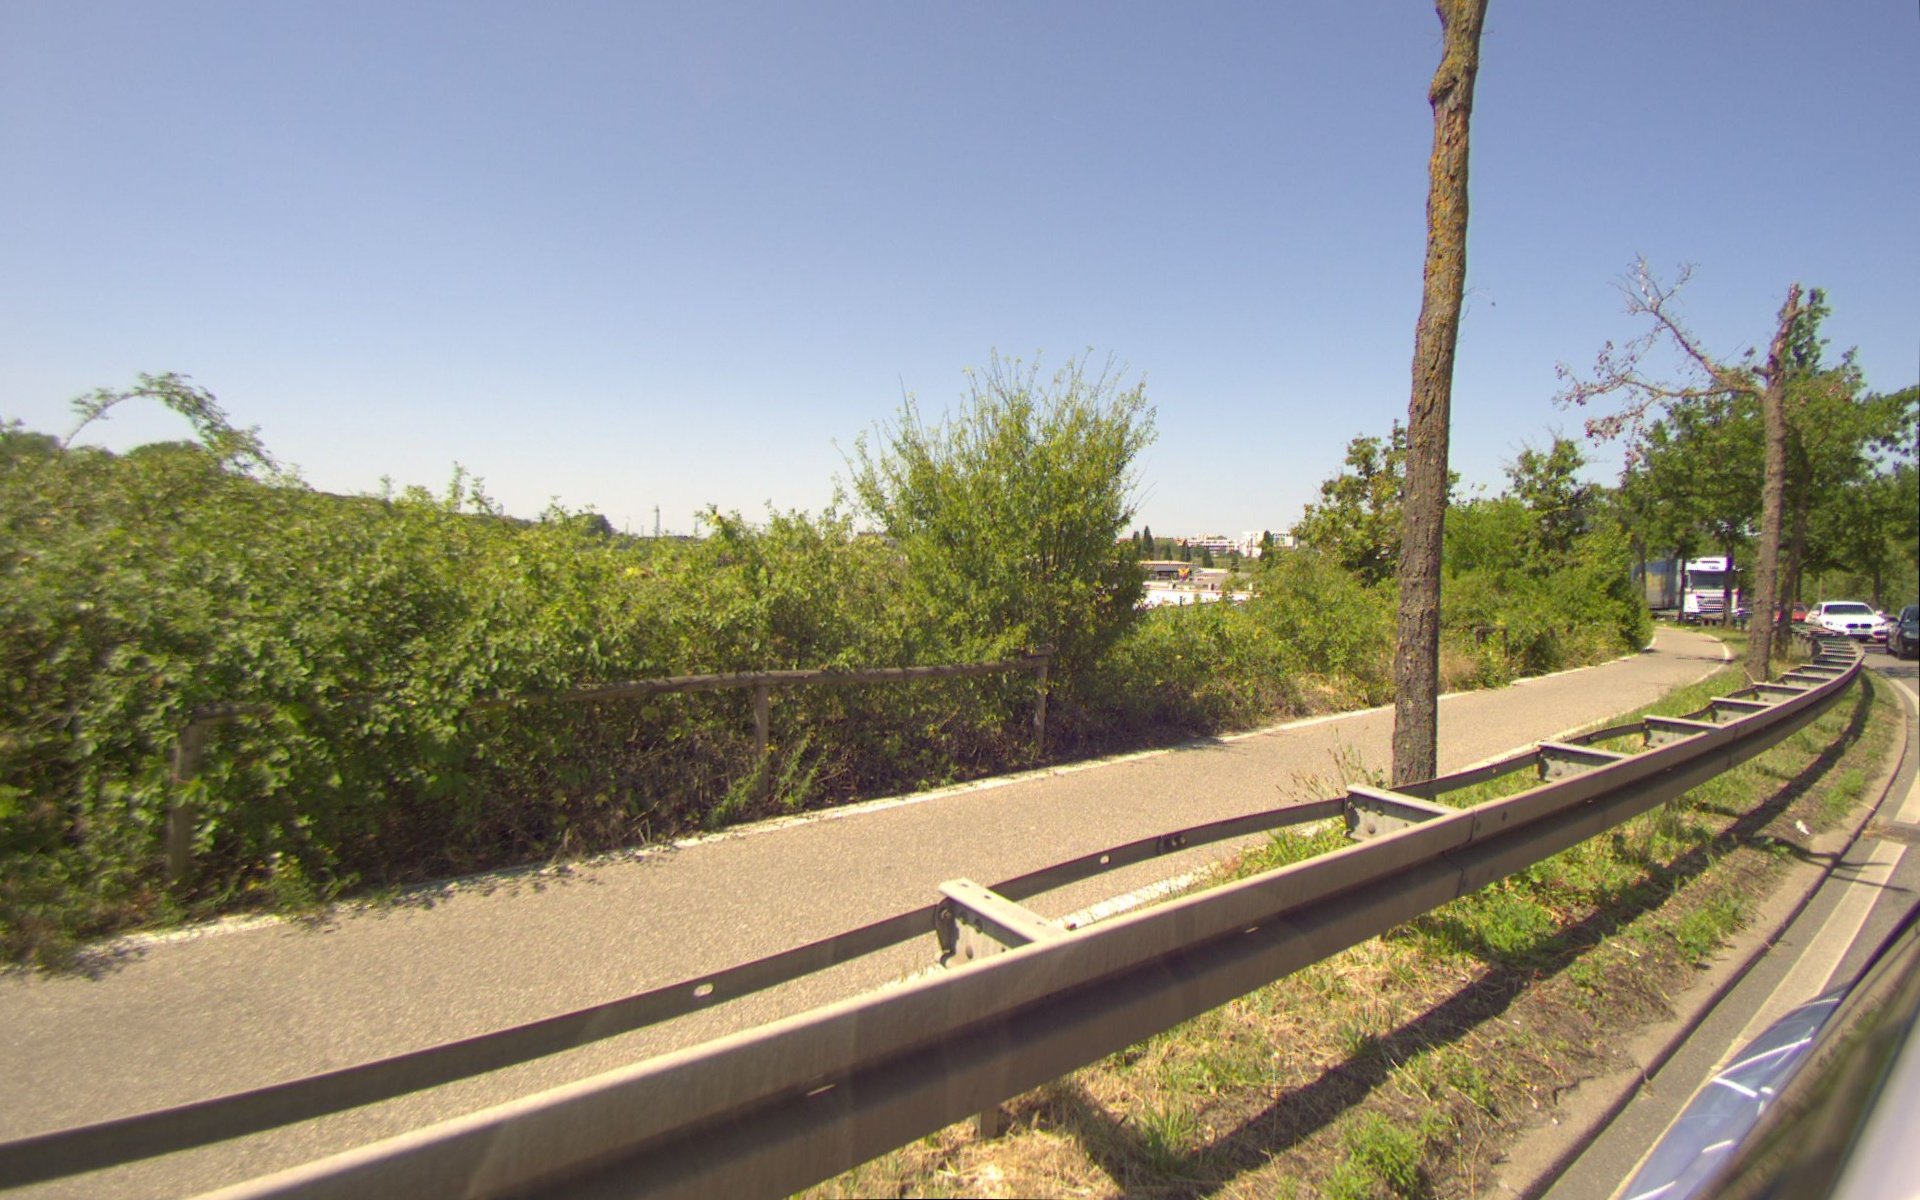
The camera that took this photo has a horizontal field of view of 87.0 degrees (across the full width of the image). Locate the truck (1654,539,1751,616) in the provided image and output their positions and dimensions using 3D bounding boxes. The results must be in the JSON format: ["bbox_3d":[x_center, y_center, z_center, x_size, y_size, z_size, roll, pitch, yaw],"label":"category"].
[{"bbox_3d":[44.953,-1.300,61.586,2.828,4.323,8.745,0,0,23],"label":"truck"}]

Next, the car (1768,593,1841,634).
[{"bbox_3d":[38.493,0.559,46.208,1.886,1.675,4.213,0,2,31],"label":"car"}]

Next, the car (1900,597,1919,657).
[{"bbox_3d":[25.290,0.657,25.906,1.563,1.434,4.063,0,0,40],"label":"car"}]

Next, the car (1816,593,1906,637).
[{"bbox_3d":[31.219,0.473,35.177,1.805,1.446,3.671,0,0,33],"label":"car"}]

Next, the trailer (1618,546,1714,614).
[{"bbox_3d":[48.774,-1.304,70.388,2.851,4.267,13.893,0,0,24],"label":"trailer"}]
